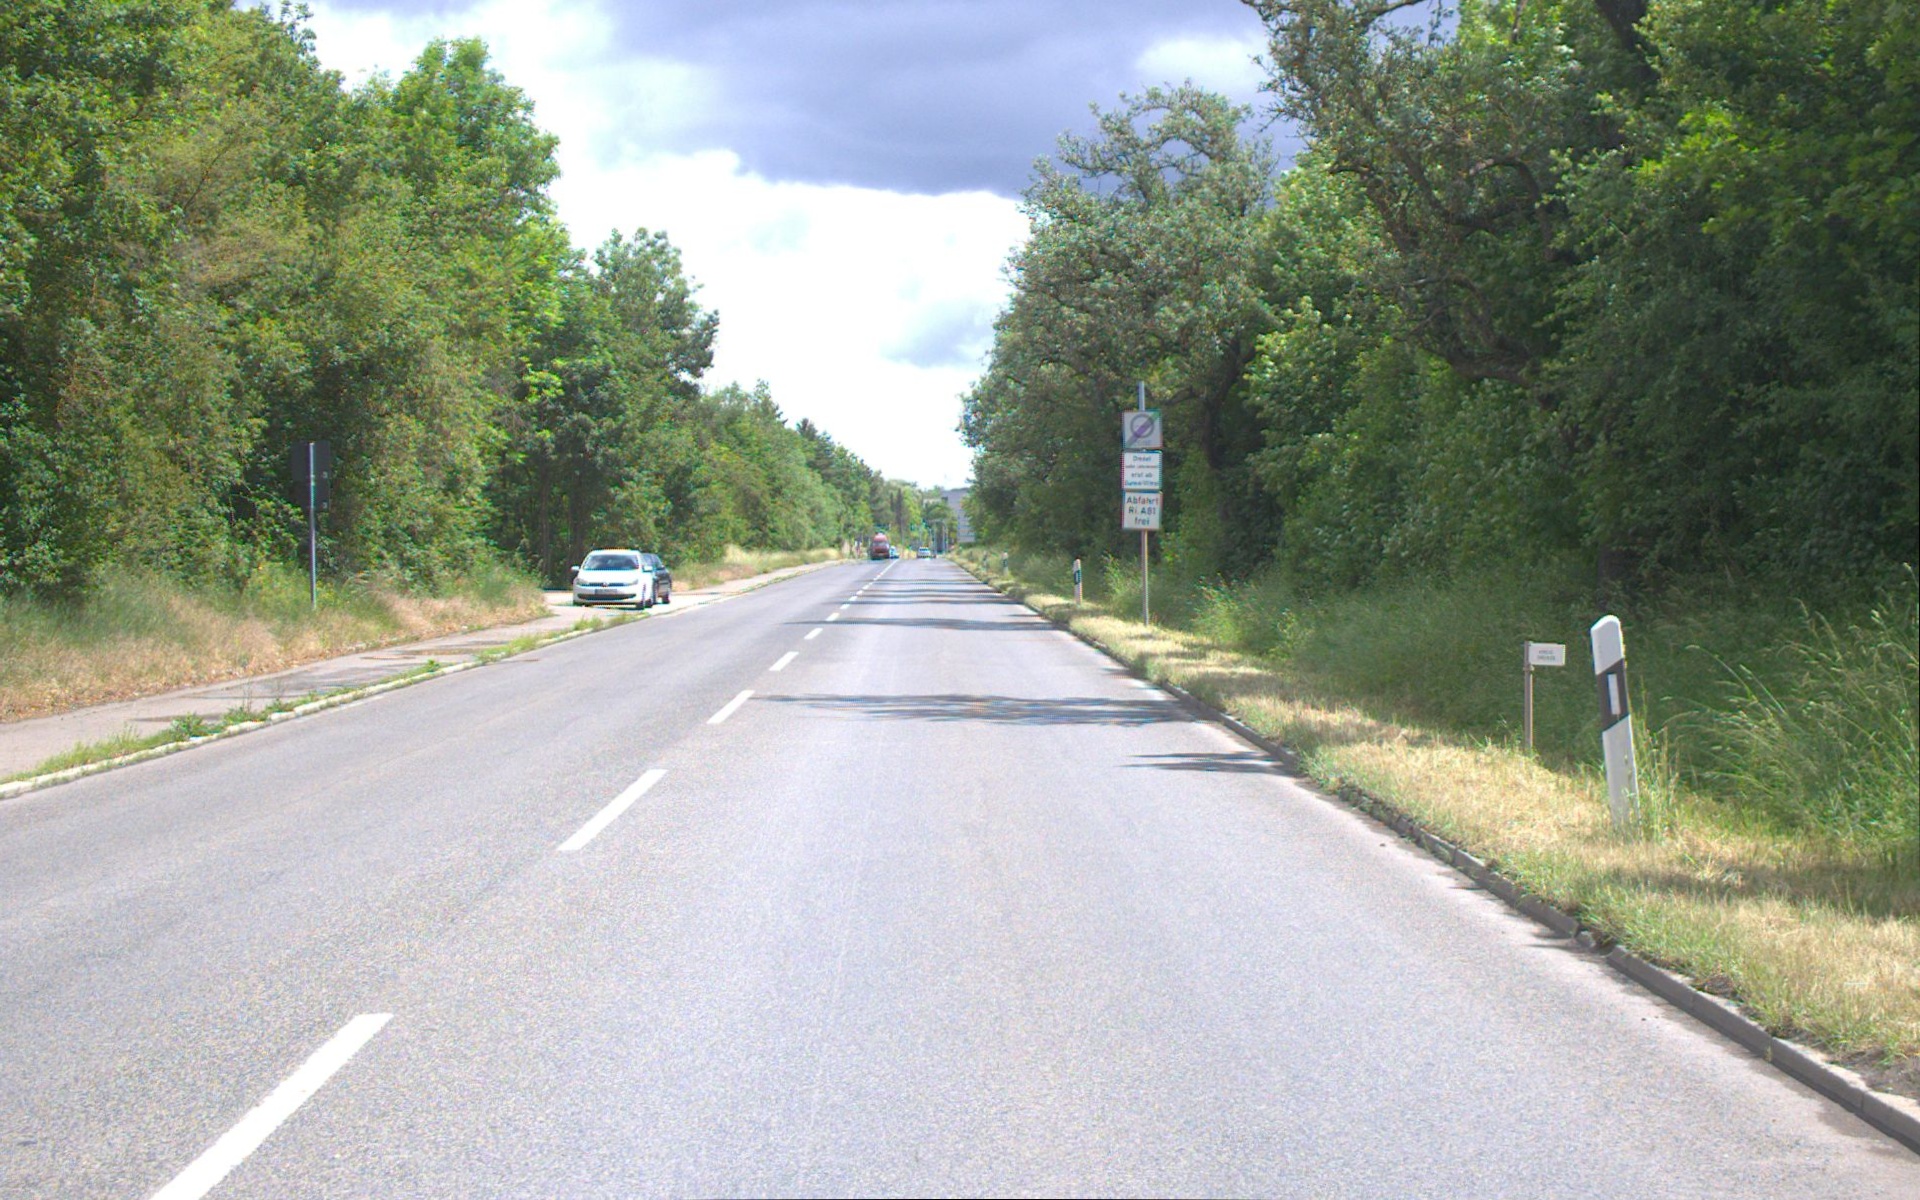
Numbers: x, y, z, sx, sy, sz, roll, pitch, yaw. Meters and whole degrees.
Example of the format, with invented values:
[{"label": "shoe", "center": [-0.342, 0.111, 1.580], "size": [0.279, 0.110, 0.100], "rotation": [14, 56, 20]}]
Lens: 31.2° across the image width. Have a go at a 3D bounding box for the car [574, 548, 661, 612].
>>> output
[{"label": "car", "center": [-8.544, -0.482, 86.015], "size": [1.798, 1.538, 3.955], "rotation": [-1, 0, -1]}]
